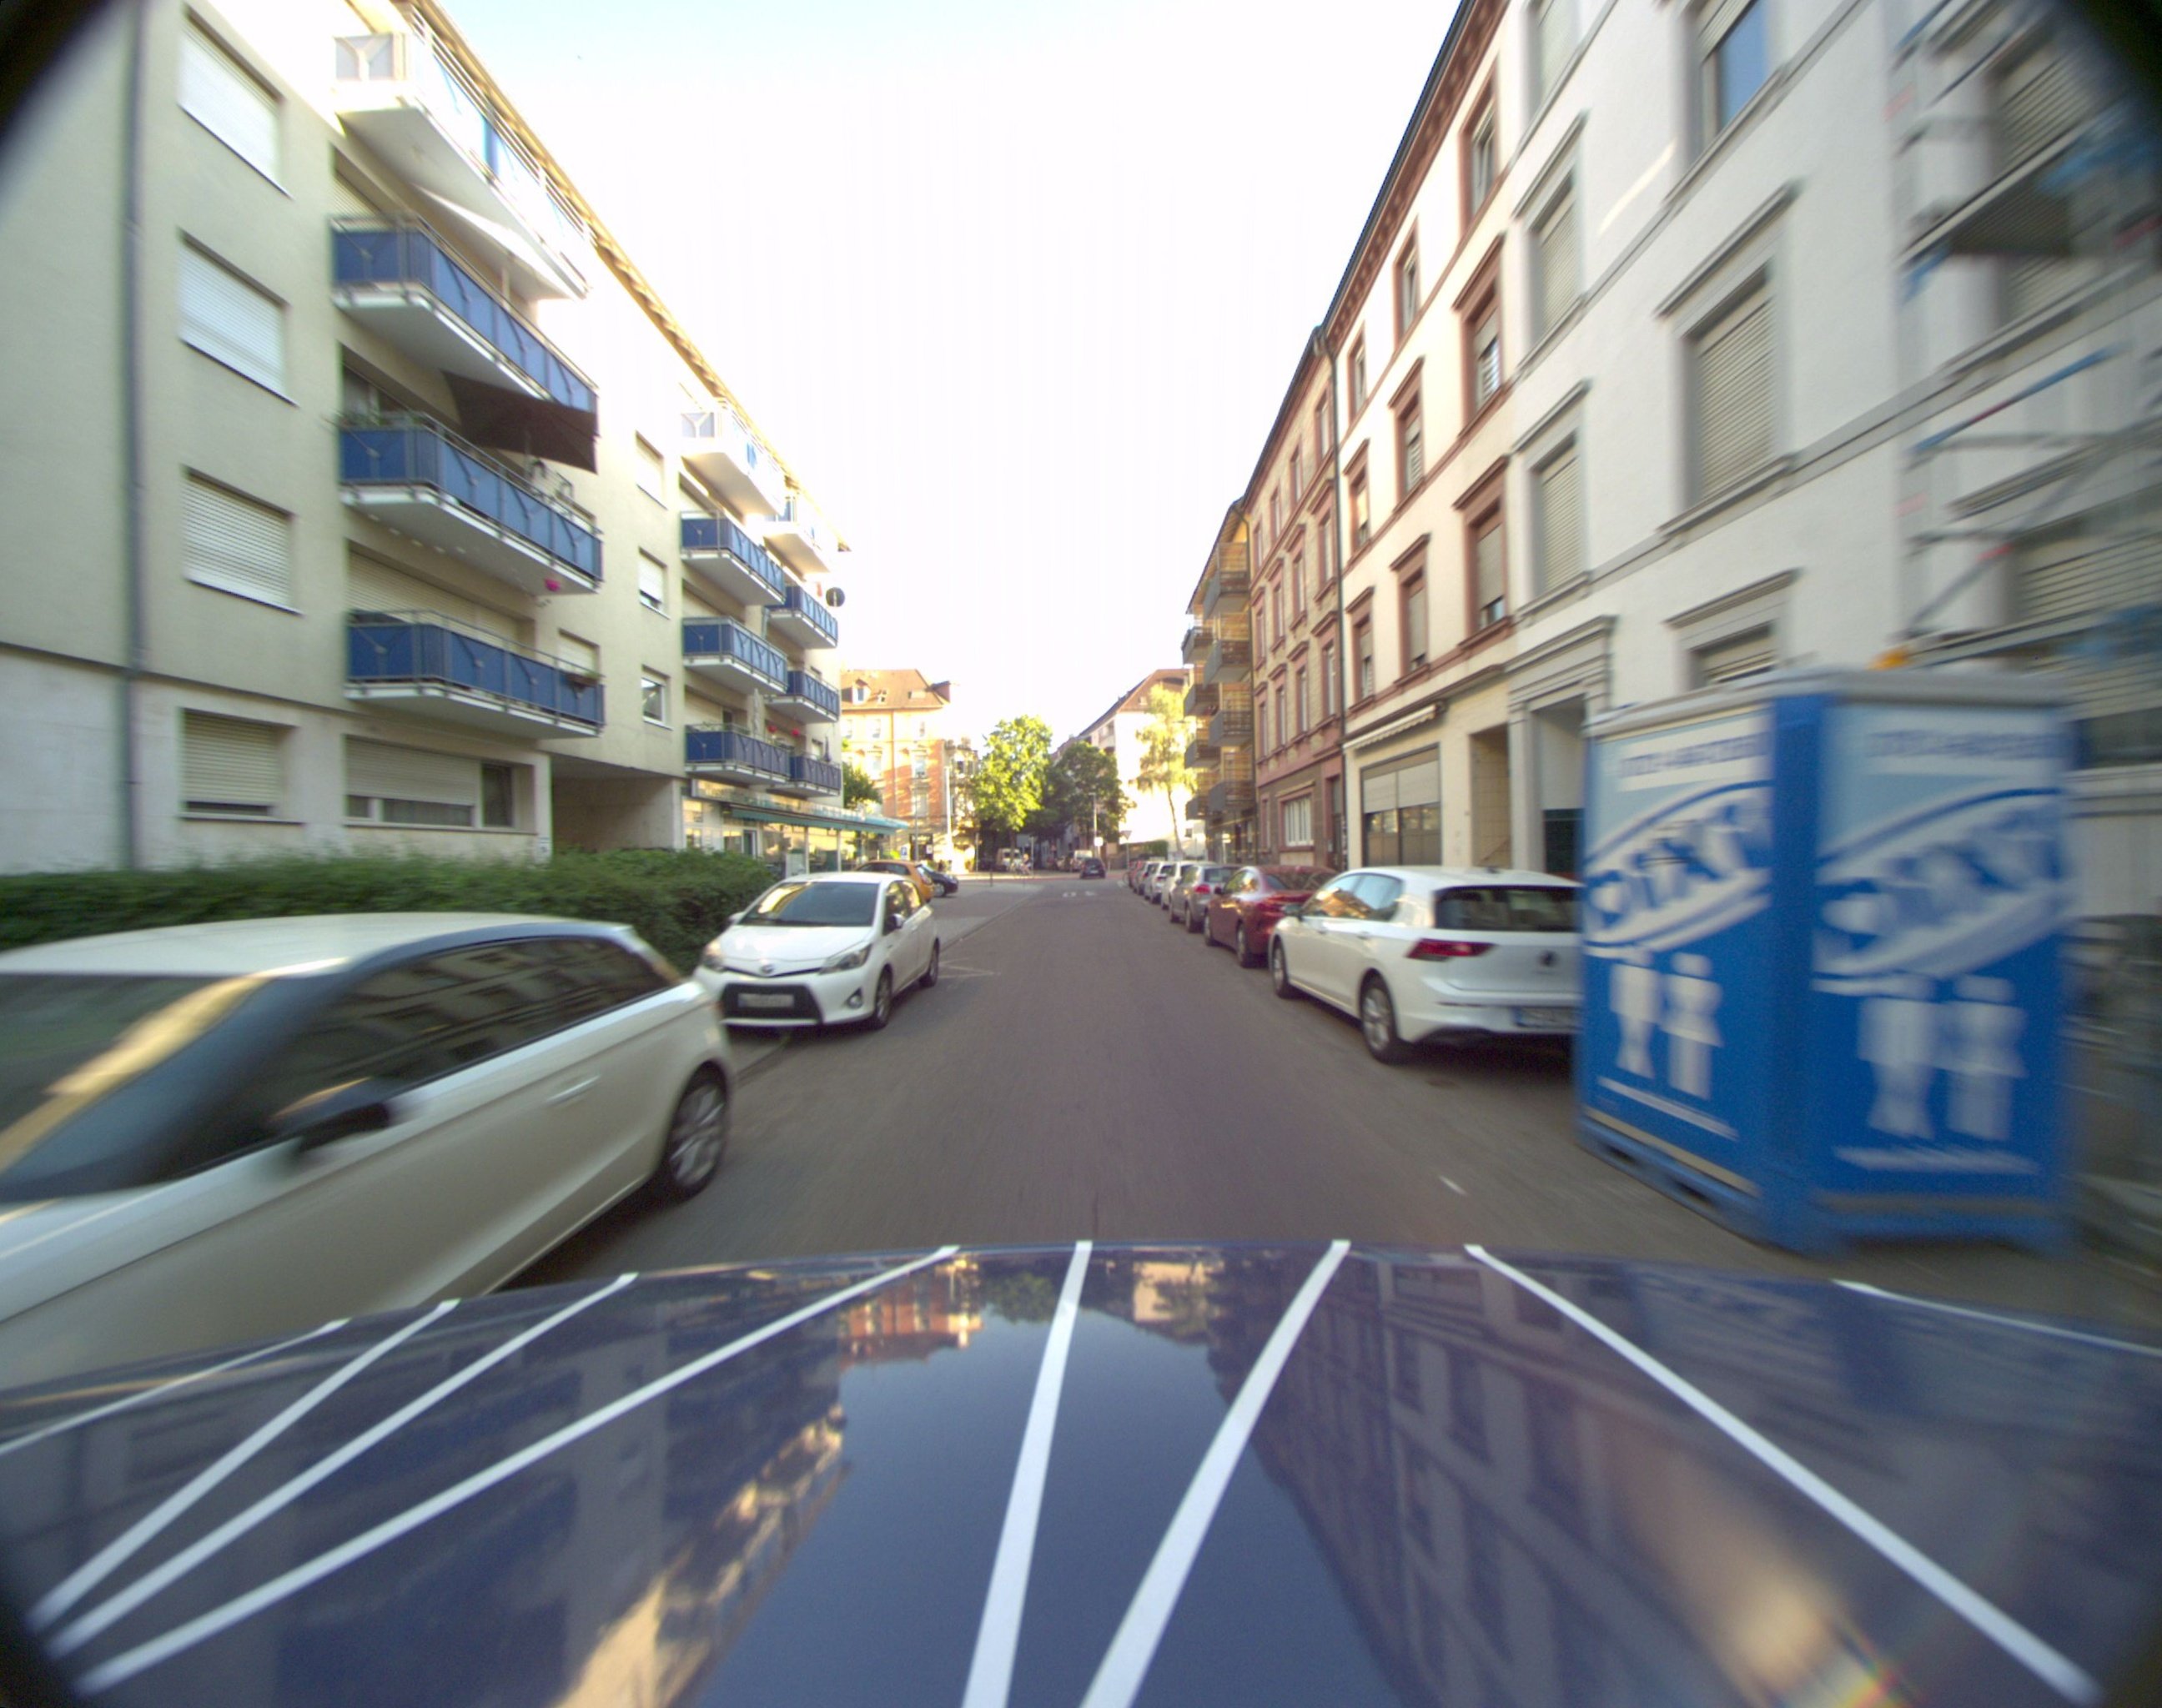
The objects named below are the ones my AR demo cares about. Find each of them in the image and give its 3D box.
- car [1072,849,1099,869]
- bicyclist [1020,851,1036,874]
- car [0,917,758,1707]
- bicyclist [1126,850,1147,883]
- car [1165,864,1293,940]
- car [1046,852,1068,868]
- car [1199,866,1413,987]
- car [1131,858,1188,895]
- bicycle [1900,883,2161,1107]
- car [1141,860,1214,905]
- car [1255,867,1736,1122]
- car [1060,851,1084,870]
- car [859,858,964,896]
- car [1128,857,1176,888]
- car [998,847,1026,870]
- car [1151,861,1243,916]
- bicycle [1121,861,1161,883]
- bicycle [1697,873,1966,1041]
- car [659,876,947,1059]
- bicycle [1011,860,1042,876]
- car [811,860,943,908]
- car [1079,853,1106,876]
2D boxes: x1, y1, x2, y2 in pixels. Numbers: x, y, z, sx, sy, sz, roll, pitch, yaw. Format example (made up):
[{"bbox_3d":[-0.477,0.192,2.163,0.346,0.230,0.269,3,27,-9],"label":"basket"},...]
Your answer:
[{"bbox_3d":[0.399,0.440,69.585,2.081,1.760,4.215,0,0,-6],"label":"car"},{"bbox_3d":[-3.872,0.616,55.760,0.974,1.663,0.799,0,1,-23],"label":"bicyclist"},{"bbox_3d":[-2.707,1.075,2.264,1.680,1.411,4.136,0,0,1],"label":"car"},{"bbox_3d":[2.993,0.659,40.973,1.097,1.792,0.567,0,1,-1],"label":"bicyclist"},{"bbox_3d":[3.106,0.970,16.832,1.999,1.423,3.999,0,0,-1],"label":"car"},{"bbox_3d":[-2.701,0.695,85.618,2.081,1.760,4.215,0,0,-7],"label":"car"},{"bbox_3d":[3.135,0.938,11.516,1.999,1.439,3.999,0,0,-1],"label":"car"},{"bbox_3d":[3.327,0.937,32.832,1.999,1.462,3.999,0,0,-1],"label":"car"},{"bbox_3d":[6.174,0.809,4.569,0.442,1.161,1.816,-4,0,-2],"label":"bicycle"},{"bbox_3d":[3.329,0.960,26.923,1.999,1.423,3.999,0,0,-1],"label":"car"},{"bbox_3d":[3.019,0.903,6.687,1.999,1.496,3.999,0,0,-1],"label":"car"},{"bbox_3d":[-0.909,0.609,75.350,2.081,1.760,4.215,0,0,-6],"label":"car"},{"bbox_3d":[-7.060,0.947,31.992,3.997,1.556,2.000,0,0,-1],"label":"car"},{"bbox_3d":[3.526,0.888,38.492,1.999,1.462,3.846,0,0,-1],"label":"car"},{"bbox_3d":[-7.174,0.394,78.413,2.163,2.270,6.201,0,0,-13],"label":"car"},{"bbox_3d":[3.282,0.941,22.253,1.999,1.423,3.999,0,0,-1],"label":"car"},{"bbox_3d":[3.214,0.975,40.989,2.106,1.161,0.567,0,1,-1],"label":"bicycle"},{"bbox_3d":[6.262,0.780,6.501,0.405,1.161,1.816,-4,0,-2],"label":"bicycle"},{"bbox_3d":[-2.700,1.013,8.454,1.680,1.411,4.135,0,0,0],"label":"car"},{"bbox_3d":[-3.981,1.036,55.742,2.110,1.161,0.725,0,1,-23],"label":"bicycle"},{"bbox_3d":[-6.882,0.995,25.947,3.997,1.556,2.000,0,0,-1],"label":"car"},{"bbox_3d":[0.801,0.708,53.396,1.828,1.496,4.000,0,0,1],"label":"car"}]
